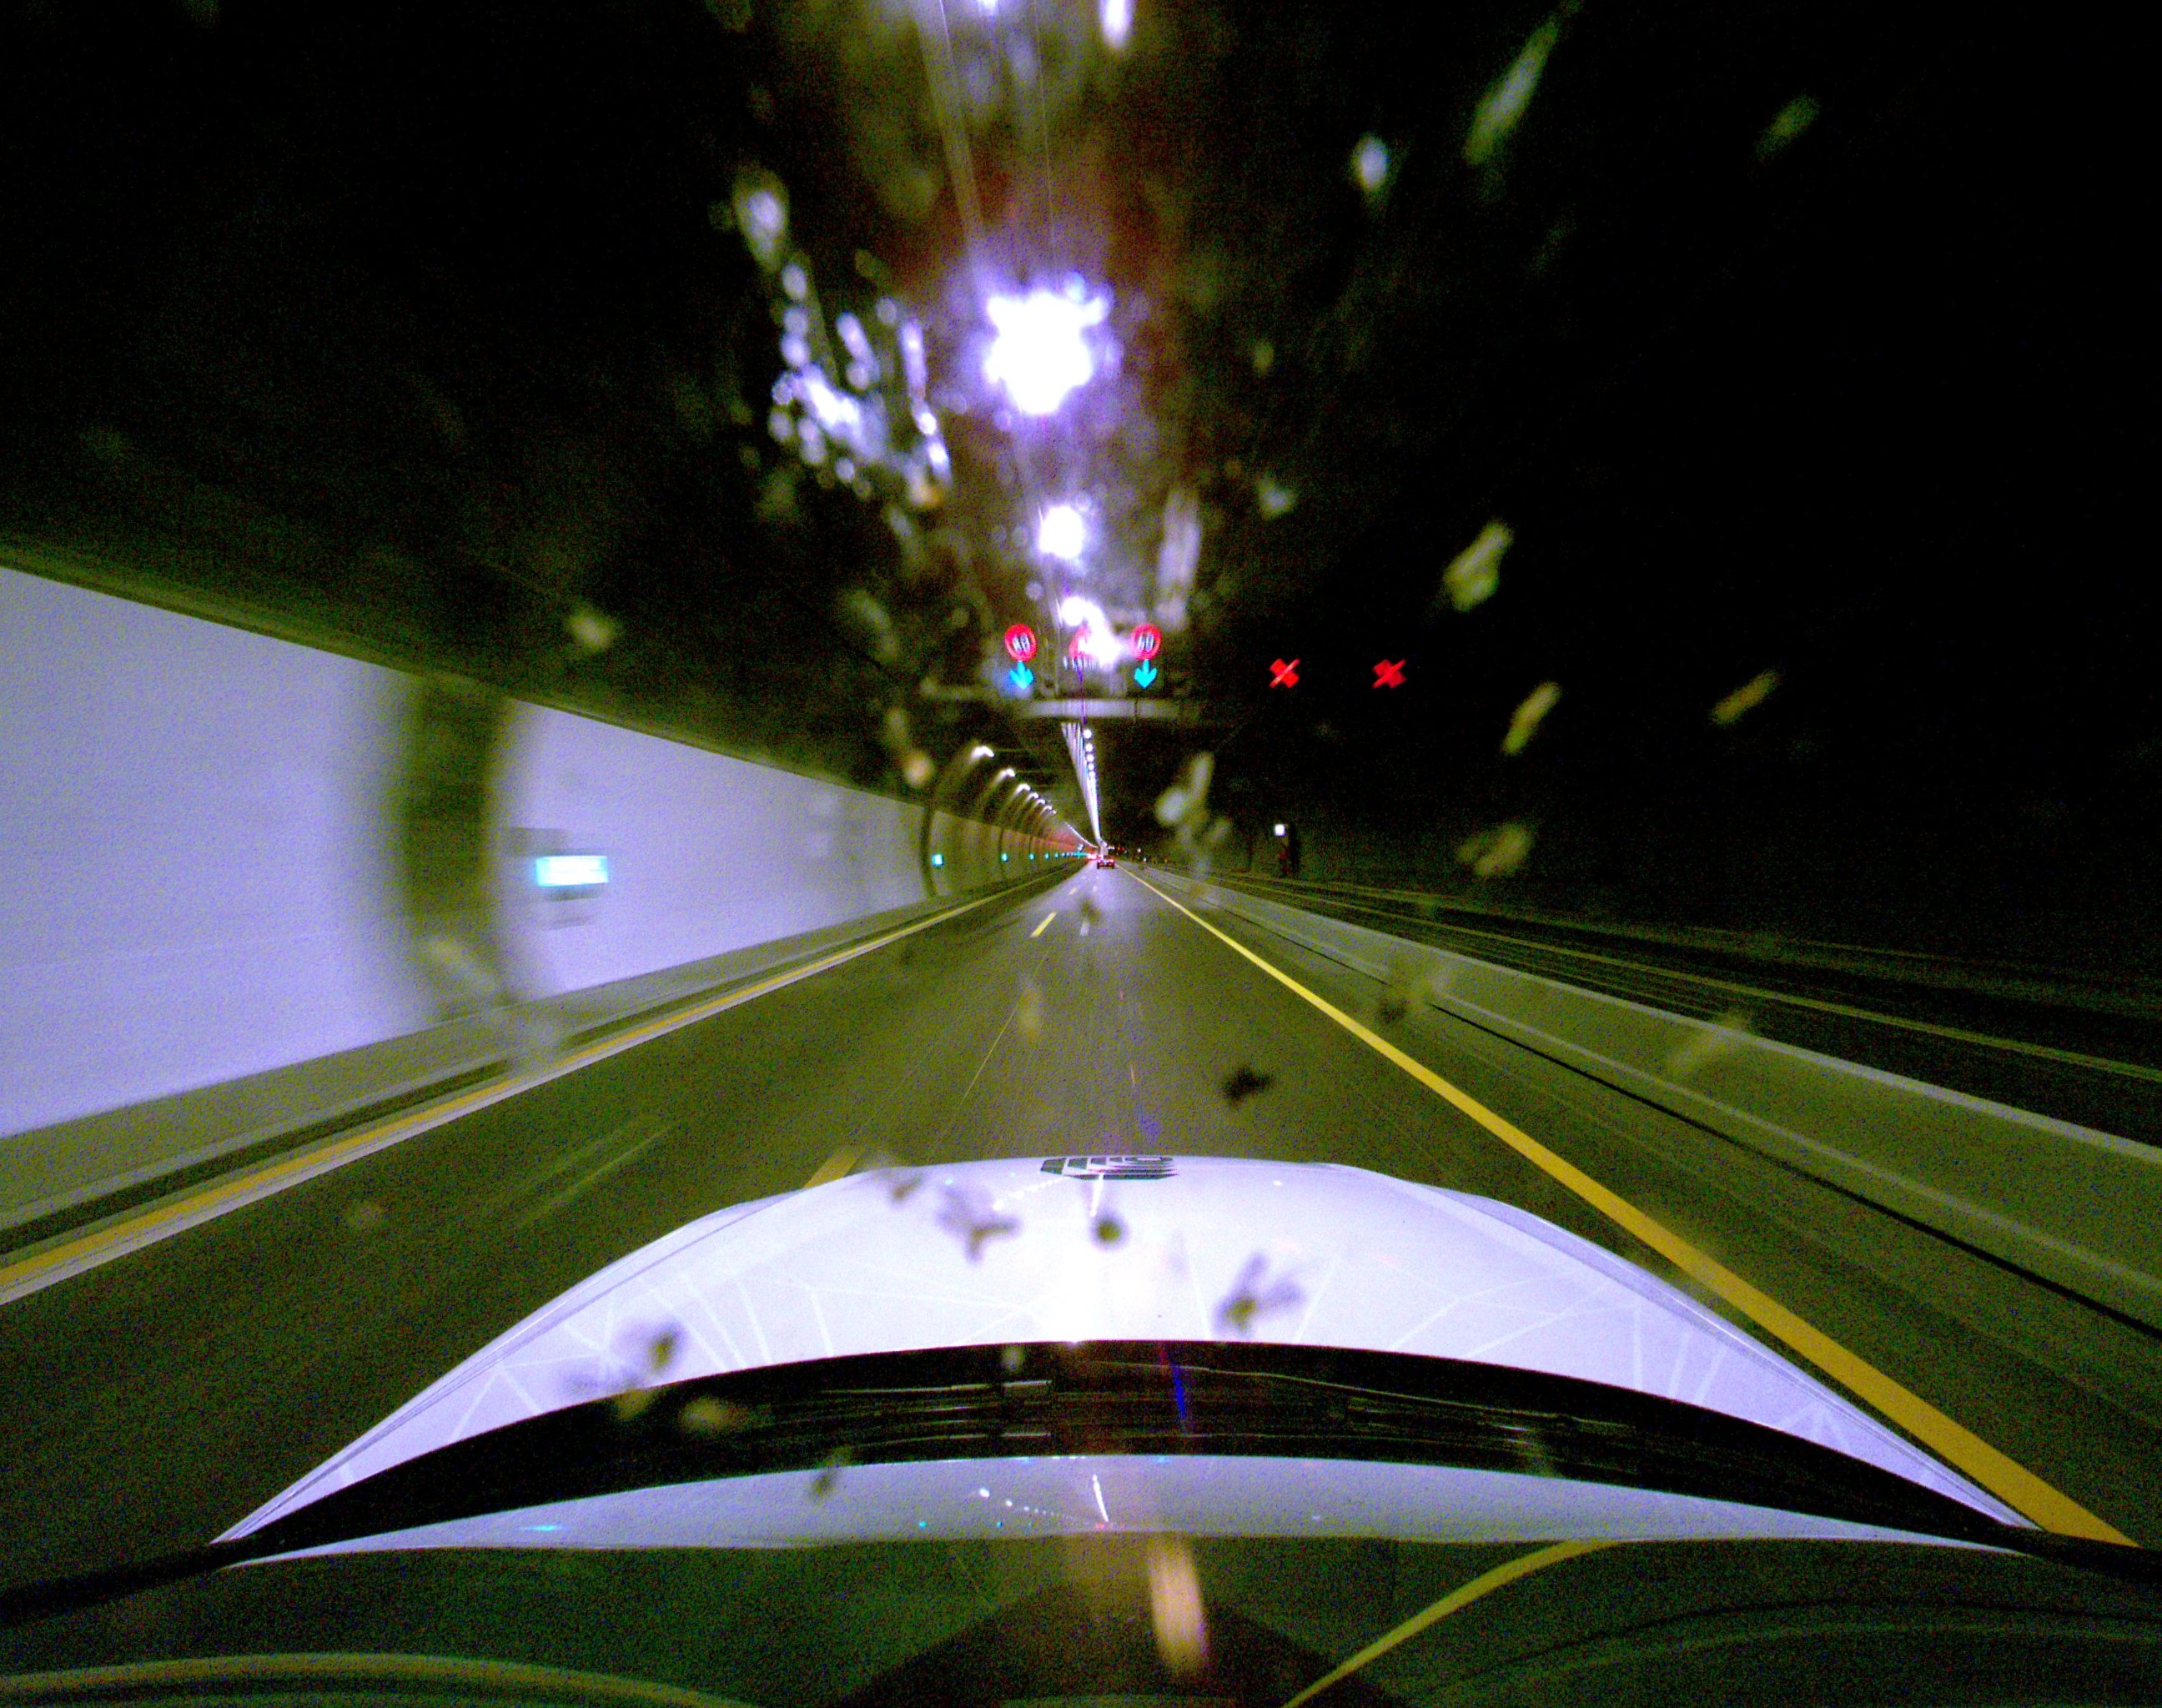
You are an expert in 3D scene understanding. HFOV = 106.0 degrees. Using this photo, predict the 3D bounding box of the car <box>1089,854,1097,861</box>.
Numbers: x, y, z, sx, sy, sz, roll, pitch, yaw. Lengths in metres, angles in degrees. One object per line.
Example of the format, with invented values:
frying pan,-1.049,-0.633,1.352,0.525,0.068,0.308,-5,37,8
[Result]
car,2.833,0.868,196.391,1.924,1.687,4.000,-1,0,1

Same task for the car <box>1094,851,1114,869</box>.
car,2.391,0.619,86.425,1.941,1.794,3.998,-1,0,-1

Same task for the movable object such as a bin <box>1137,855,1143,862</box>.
movable object such as a bin,13.373,0.971,184.599,1.230,1.442,2.217,1,0,1
